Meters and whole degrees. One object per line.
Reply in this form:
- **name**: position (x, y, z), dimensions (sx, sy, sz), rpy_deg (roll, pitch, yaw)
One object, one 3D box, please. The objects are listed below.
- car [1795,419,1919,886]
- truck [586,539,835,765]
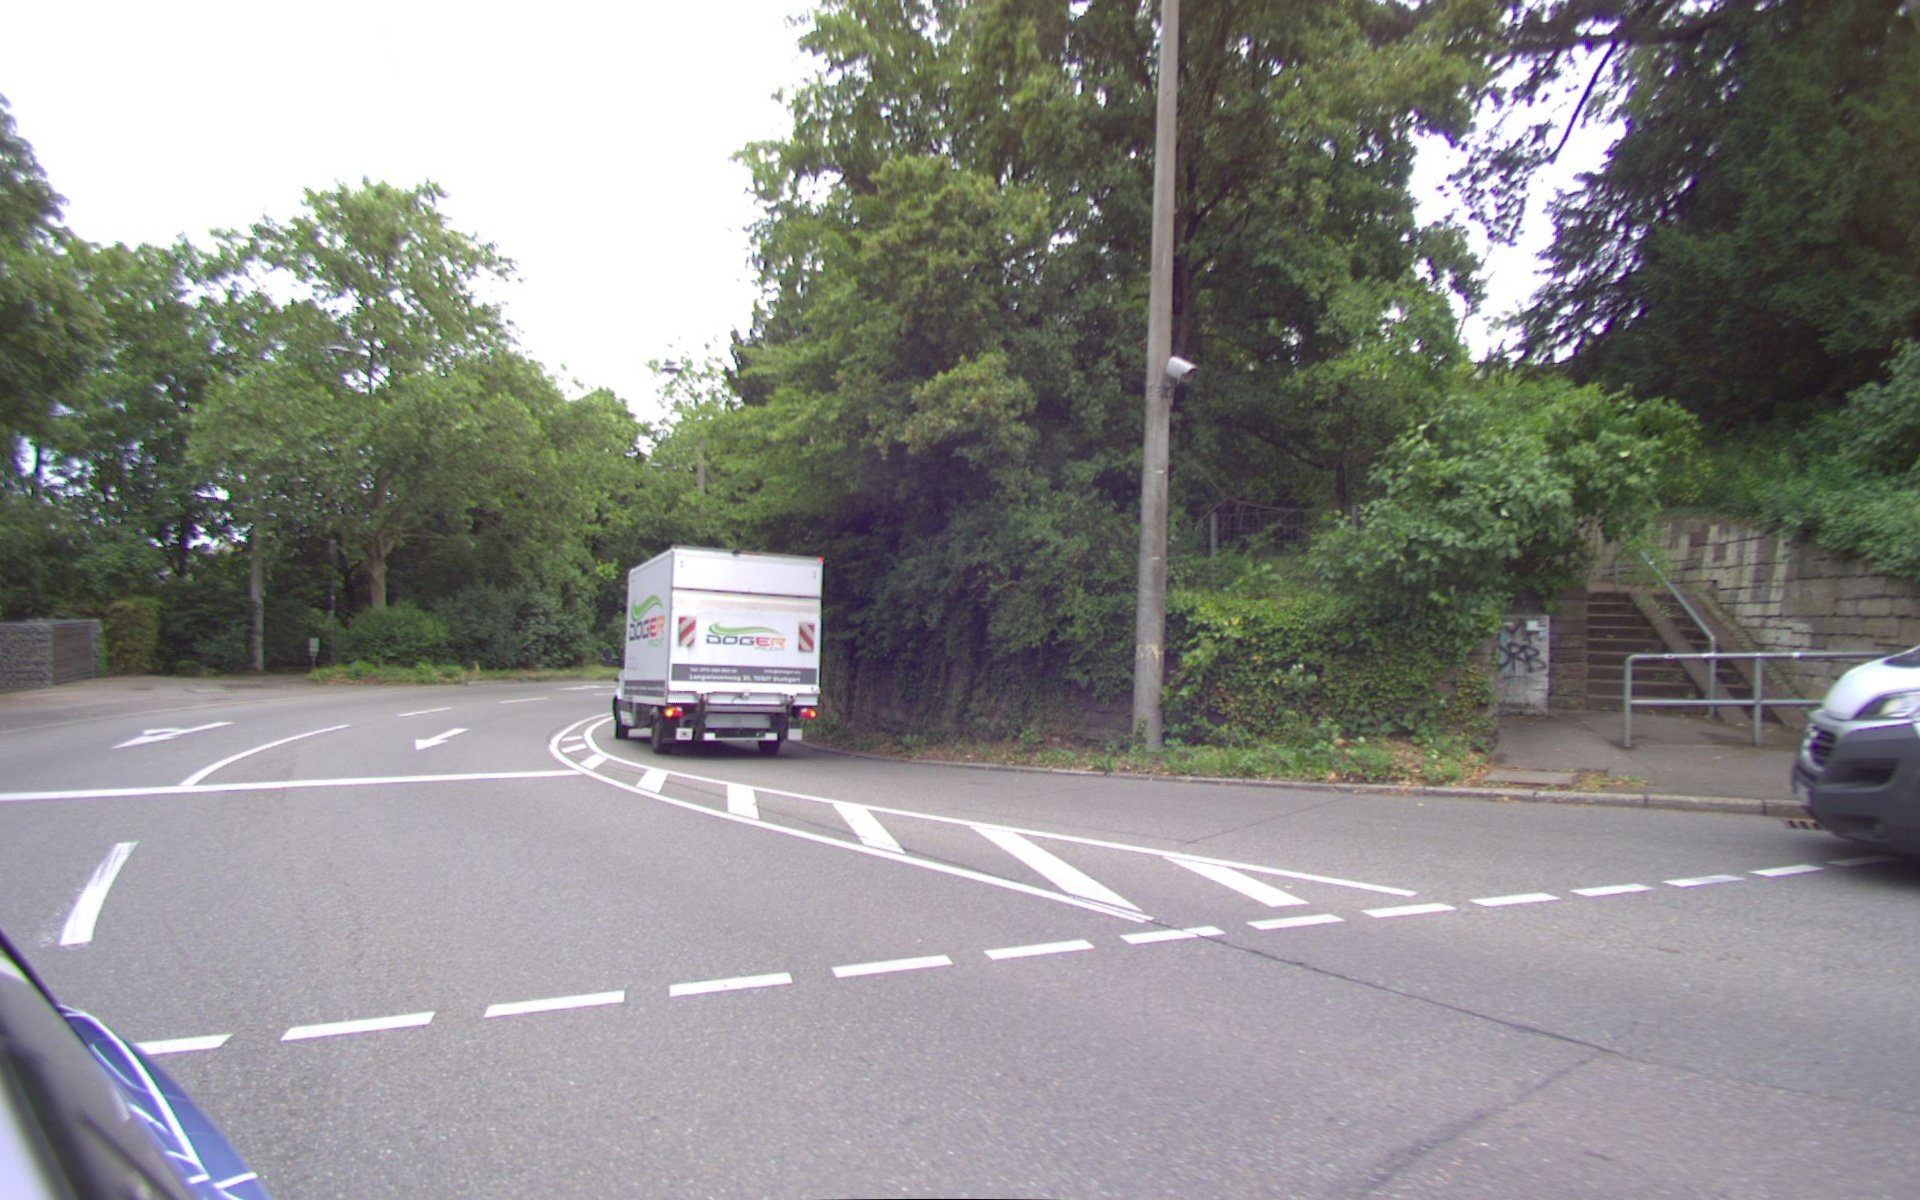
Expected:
- **car**: position (7.805, 0.231, 4.626), dimensions (5.878, 2.431, 1.978), rpy_deg (-1, -2, 33)
- **truck**: position (-4.513, 1.002, 17.277), dimensions (2.368, 3.112, 6.363), rpy_deg (5, -6, -29)
